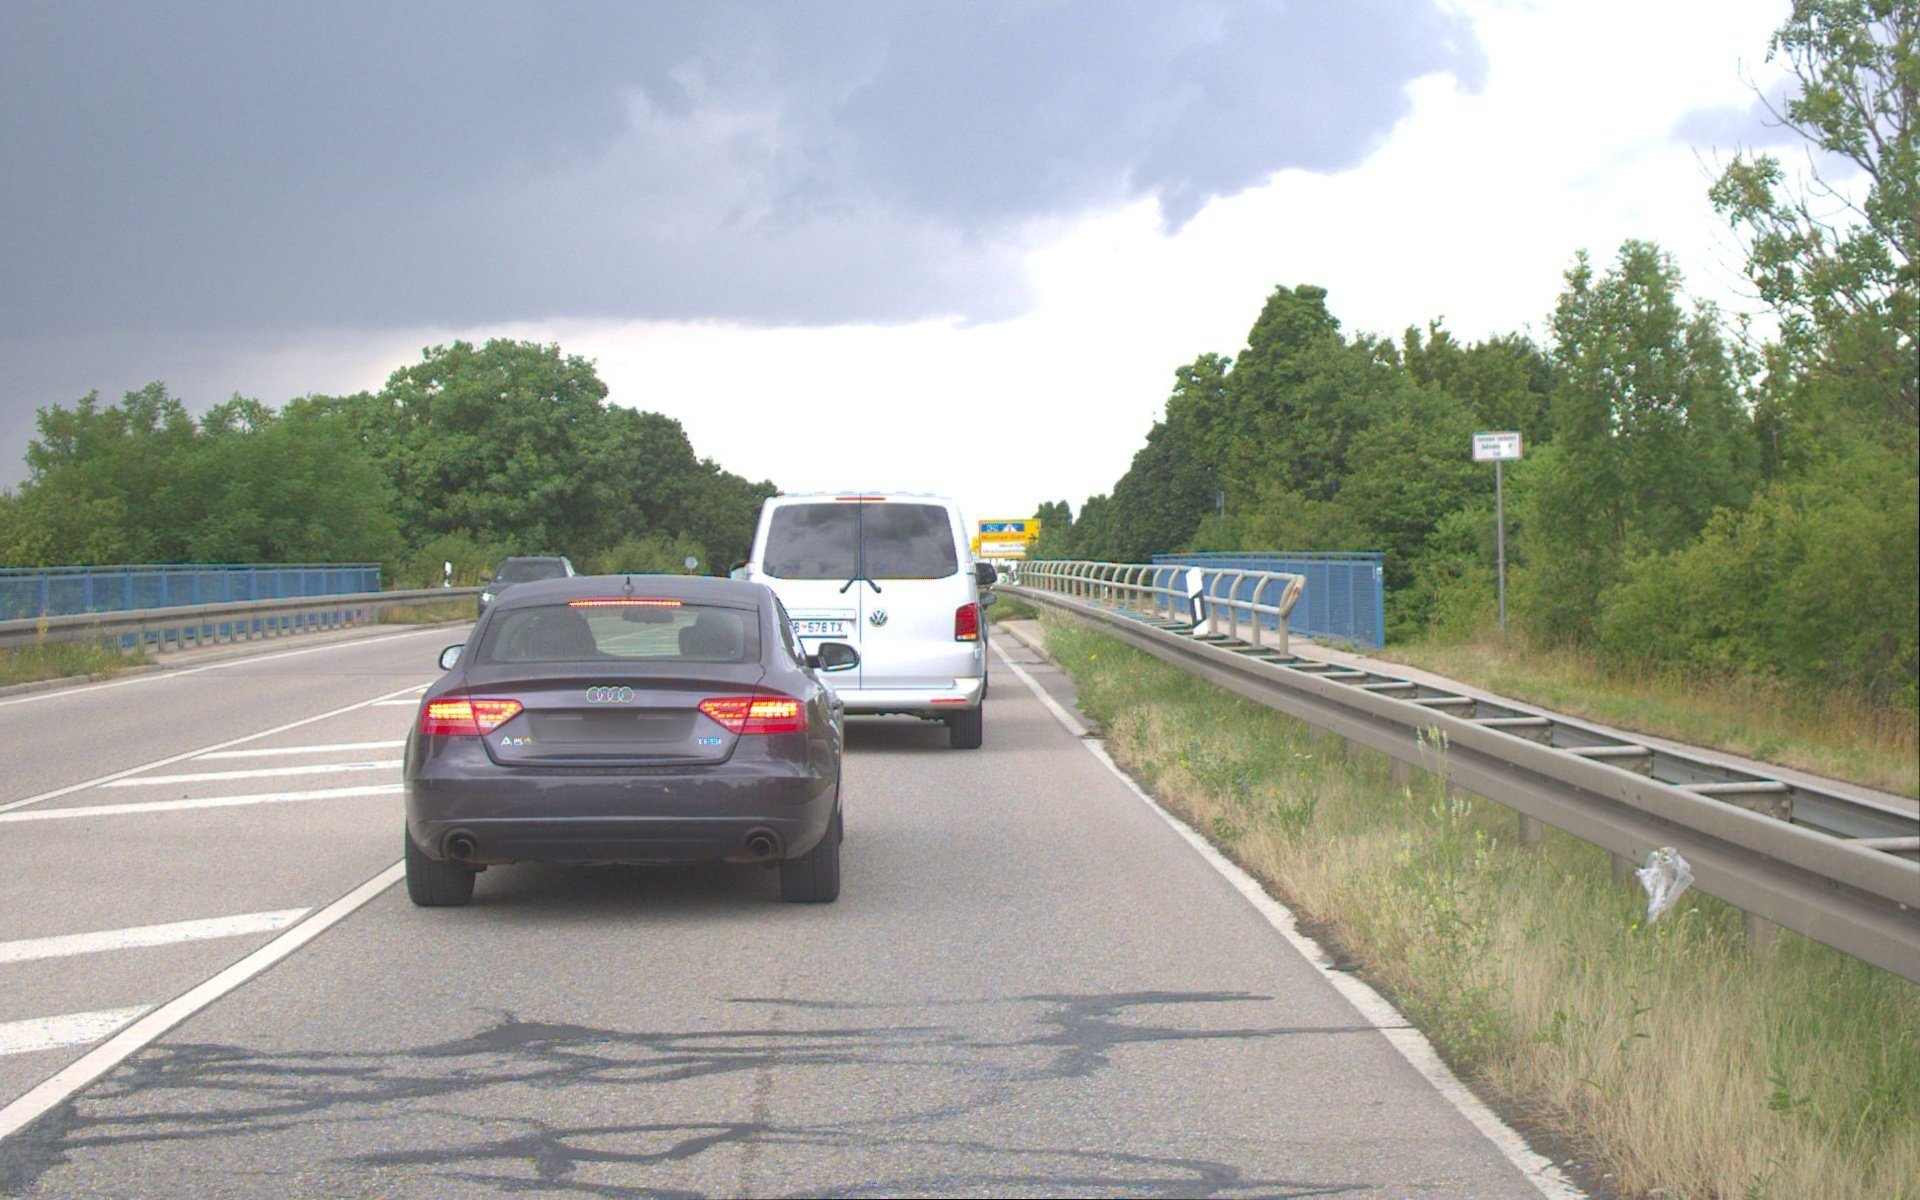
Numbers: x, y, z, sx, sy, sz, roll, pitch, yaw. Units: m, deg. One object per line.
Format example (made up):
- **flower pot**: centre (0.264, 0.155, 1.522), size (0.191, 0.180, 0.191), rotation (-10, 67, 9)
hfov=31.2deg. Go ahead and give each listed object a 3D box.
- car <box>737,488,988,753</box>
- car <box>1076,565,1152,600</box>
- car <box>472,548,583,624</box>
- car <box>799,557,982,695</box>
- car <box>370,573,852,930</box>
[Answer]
- **car**: centre (-0.747, 0.130, 27.360), size (1.828, 1.929, 4.000), rotation (-1, 1, -1)
- **car**: centre (9.041, -1.022, 201.680), size (3.993, 2.007, 1.997), rotation (1, 0, 27)
- **car**: centre (-8.590, -0.294, 68.546), size (1.799, 1.445, 4.446), rotation (-1, 1, -2)
- **car**: centre (-0.683, 0.238, 36.413), size (1.821, 1.376, 4.072), rotation (0, 1, 0)
- **car**: centre (-1.440, 0.581, 15.600), size (1.821, 1.376, 4.072), rotation (-1, 1, -1)
